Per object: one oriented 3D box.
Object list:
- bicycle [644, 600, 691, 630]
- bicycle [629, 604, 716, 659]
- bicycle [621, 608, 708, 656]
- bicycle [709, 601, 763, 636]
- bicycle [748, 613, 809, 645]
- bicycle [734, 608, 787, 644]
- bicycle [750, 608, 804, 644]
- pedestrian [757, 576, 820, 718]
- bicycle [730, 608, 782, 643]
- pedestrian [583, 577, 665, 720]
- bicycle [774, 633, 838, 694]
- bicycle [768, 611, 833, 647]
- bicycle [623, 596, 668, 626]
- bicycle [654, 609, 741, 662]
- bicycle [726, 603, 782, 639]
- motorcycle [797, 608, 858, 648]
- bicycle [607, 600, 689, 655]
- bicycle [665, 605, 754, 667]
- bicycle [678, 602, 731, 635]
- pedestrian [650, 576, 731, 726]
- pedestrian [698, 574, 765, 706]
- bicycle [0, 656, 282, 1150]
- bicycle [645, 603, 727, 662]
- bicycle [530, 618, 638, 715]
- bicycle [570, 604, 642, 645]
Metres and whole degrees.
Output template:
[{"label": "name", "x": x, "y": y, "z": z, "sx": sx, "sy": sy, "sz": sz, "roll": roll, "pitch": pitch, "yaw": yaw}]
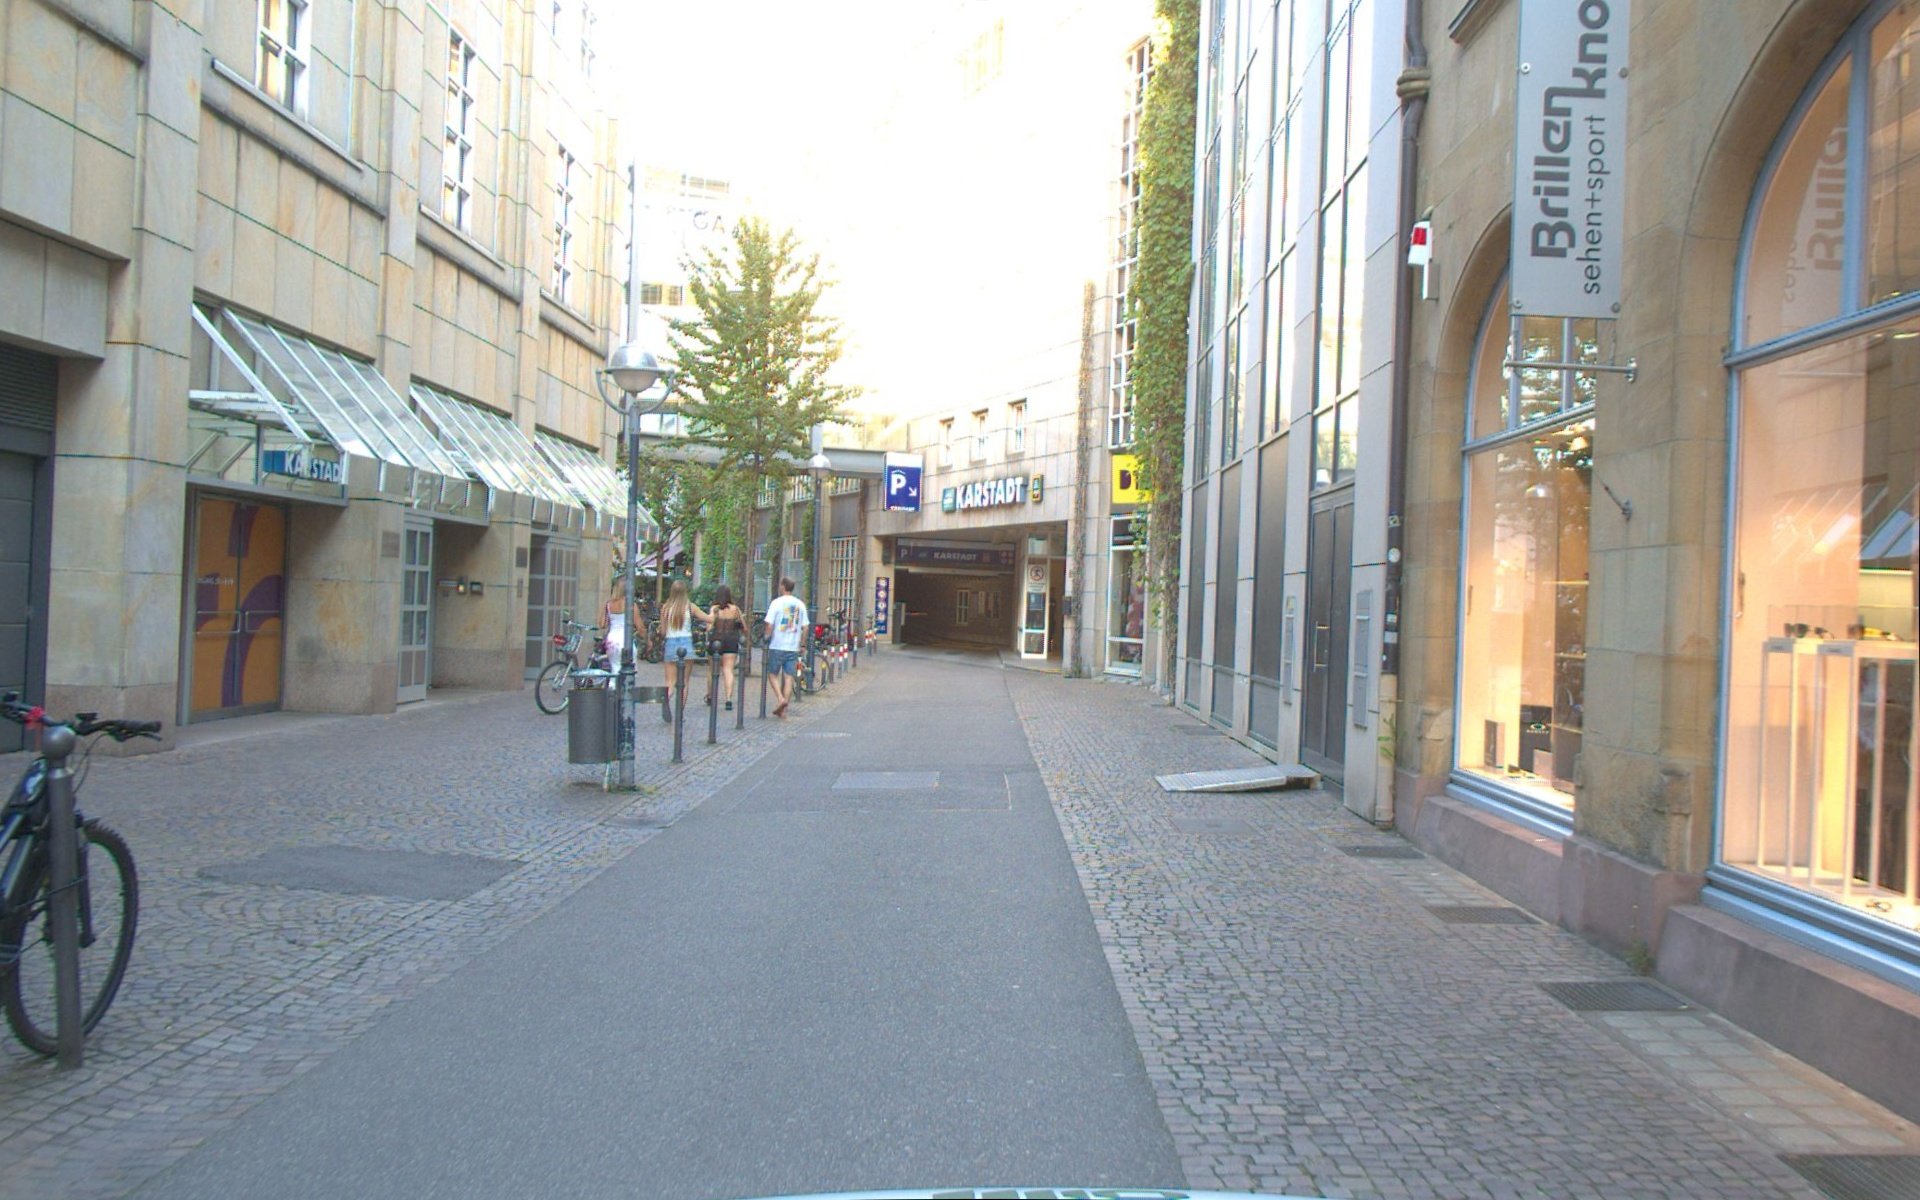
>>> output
[{"label": "bicycle", "x": -11.426, "y": 0.575, "z": 64.669, "sx": 1.746, "sy": 1.134, "sz": 0.540, "roll": 1, "pitch": 0, "yaw": -18}, {"label": "bicycle", "x": -6.486, "y": 0.711, "z": 37.348, "sx": 1.846, "sy": 1.198, "sz": 0.530, "roll": 1, "pitch": 0, "yaw": -23}, {"label": "bicycle", "x": -6.761, "y": 0.737, "z": 37.877, "sx": 1.868, "sy": 1.070, "sz": 0.530, "roll": 1, "pitch": 0, "yaw": -23}, {"label": "bicycle", "x": -7.677, "y": 0.633, "z": 56.658, "sx": 1.747, "sy": 1.134, "sz": 0.539, "roll": 1, "pitch": 0, "yaw": -21}, {"label": "bicycle", "x": -5.361, "y": 0.852, "z": 48.866, "sx": 1.747, "sy": 0.920, "sz": 0.461, "roll": 1, "pitch": 0, "yaw": -21}, {"label": "bicycle", "x": -6.125, "y": 0.794, "z": 50.789, "sx": 1.517, "sy": 1.067, "sz": 0.572, "roll": 1, "pitch": 0, "yaw": -21}, {"label": "bicycle", "x": -5.504, "y": 0.785, "z": 49.815, "sx": 1.517, "sy": 1.067, "sz": 0.572, "roll": 1, "pitch": 0, "yaw": -21}, {"label": "pedestrian", "x": -2.306, "y": 0.624, "z": 22.181, "sx": 0.729, "sy": 1.854, "sz": 0.876, "roll": 1, "pitch": 0, "yaw": -11}, {"label": "bicycle", "x": -6.429, "y": 0.811, "z": 52.184, "sx": 1.517, "sy": 1.067, "sz": 0.572, "roll": 1, "pitch": 0, "yaw": -21}, {"label": "pedestrian", "x": -4.101, "y": 0.581, "z": 20.240, "sx": 0.660, "sy": 1.693, "sz": 0.861, "roll": 2, "pitch": 0, "yaw": 9}, {"label": "bicycle", "x": -2.576, "y": 1.052, "z": 27.799, "sx": 0.482, "sy": 0.955, "sz": 1.660, "roll": 3, "pitch": 0, "yaw": 15}, {"label": "bicycle", "x": -4.630, "y": 0.852, "z": 47.999, "sx": 1.821, "sy": 0.999, "sz": 0.461, "roll": 1, "pitch": 0, "yaw": -21}, {"label": "bicycle", "x": -13.279, "y": 0.480, "z": 69.852, "sx": 1.747, "sy": 1.211, "sz": 0.583, "roll": 1, "pitch": 0, "yaw": -21}, {"label": "bicycle", "x": -5.771, "y": 0.787, "z": 36.398, "sx": 1.811, "sy": 1.142, "sz": 0.530, "roll": 1, "pitch": 0, "yaw": -23}, {"label": "bicycle", "x": -6.784, "y": 0.683, "z": 54.430, "sx": 1.747, "sy": 1.134, "sz": 0.539, "roll": 1, "pitch": 0, "yaw": -21}, {"label": "motorcycle", "x": -3.719, "y": 0.786, "z": 46.398, "sx": 1.638, "sy": 1.069, "sz": 0.461, "roll": 1, "pitch": 0, "yaw": -21}, {"label": "bicycle", "x": -7.268, "y": 0.639, "z": 38.548, "sx": 1.808, "sy": 1.246, "sz": 0.530, "roll": 1, "pitch": 0, "yaw": -23}, {"label": "bicycle", "x": -5.178, "y": 0.756, "z": 34.231, "sx": 1.742, "sy": 1.252, "sz": 0.530, "roll": 1, "pitch": 0, "yaw": -23}, {"label": "bicycle", "x": -9.099, "y": 0.672, "z": 58.906, "sx": 1.747, "sy": 1.134, "sz": 0.539, "roll": 1, "pitch": 0, "yaw": -21}, {"label": "pedestrian", "x": -3.269, "y": 0.605, "z": 20.121, "sx": 0.790, "sy": 1.760, "sz": 0.948, "roll": 2, "pitch": 0, "yaw": -1}, {"label": "pedestrian", "x": -3.241, "y": 0.555, "z": 23.381, "sx": 0.772, "sy": 1.826, "sz": 0.968, "roll": 1, "pitch": 0, "yaw": -16}, {"label": "bicycle", "x": -2.656, "y": 0.797, "z": 4.741, "sx": 0.522, "sy": 1.173, "sz": 1.915, "roll": 3, "pitch": 0, "yaw": 1}, {"label": "bicycle", "x": -5.881, "y": 0.699, "z": 35.506, "sx": 1.631, "sy": 1.252, "sz": 0.530, "roll": 1, "pitch": 0, "yaw": -23}, {"label": "bicycle", "x": -4.743, "y": 0.814, "z": 20.974, "sx": 0.510, "sy": 1.158, "sz": 1.765, "roll": 1, "pitch": 0, "yaw": 16}, {"label": "bicycle", "x": -9.434, "y": 0.657, "z": 44.079, "sx": 1.799, "sy": 1.061, "sz": 0.530, "roll": 1, "pitch": 0, "yaw": -23}]
